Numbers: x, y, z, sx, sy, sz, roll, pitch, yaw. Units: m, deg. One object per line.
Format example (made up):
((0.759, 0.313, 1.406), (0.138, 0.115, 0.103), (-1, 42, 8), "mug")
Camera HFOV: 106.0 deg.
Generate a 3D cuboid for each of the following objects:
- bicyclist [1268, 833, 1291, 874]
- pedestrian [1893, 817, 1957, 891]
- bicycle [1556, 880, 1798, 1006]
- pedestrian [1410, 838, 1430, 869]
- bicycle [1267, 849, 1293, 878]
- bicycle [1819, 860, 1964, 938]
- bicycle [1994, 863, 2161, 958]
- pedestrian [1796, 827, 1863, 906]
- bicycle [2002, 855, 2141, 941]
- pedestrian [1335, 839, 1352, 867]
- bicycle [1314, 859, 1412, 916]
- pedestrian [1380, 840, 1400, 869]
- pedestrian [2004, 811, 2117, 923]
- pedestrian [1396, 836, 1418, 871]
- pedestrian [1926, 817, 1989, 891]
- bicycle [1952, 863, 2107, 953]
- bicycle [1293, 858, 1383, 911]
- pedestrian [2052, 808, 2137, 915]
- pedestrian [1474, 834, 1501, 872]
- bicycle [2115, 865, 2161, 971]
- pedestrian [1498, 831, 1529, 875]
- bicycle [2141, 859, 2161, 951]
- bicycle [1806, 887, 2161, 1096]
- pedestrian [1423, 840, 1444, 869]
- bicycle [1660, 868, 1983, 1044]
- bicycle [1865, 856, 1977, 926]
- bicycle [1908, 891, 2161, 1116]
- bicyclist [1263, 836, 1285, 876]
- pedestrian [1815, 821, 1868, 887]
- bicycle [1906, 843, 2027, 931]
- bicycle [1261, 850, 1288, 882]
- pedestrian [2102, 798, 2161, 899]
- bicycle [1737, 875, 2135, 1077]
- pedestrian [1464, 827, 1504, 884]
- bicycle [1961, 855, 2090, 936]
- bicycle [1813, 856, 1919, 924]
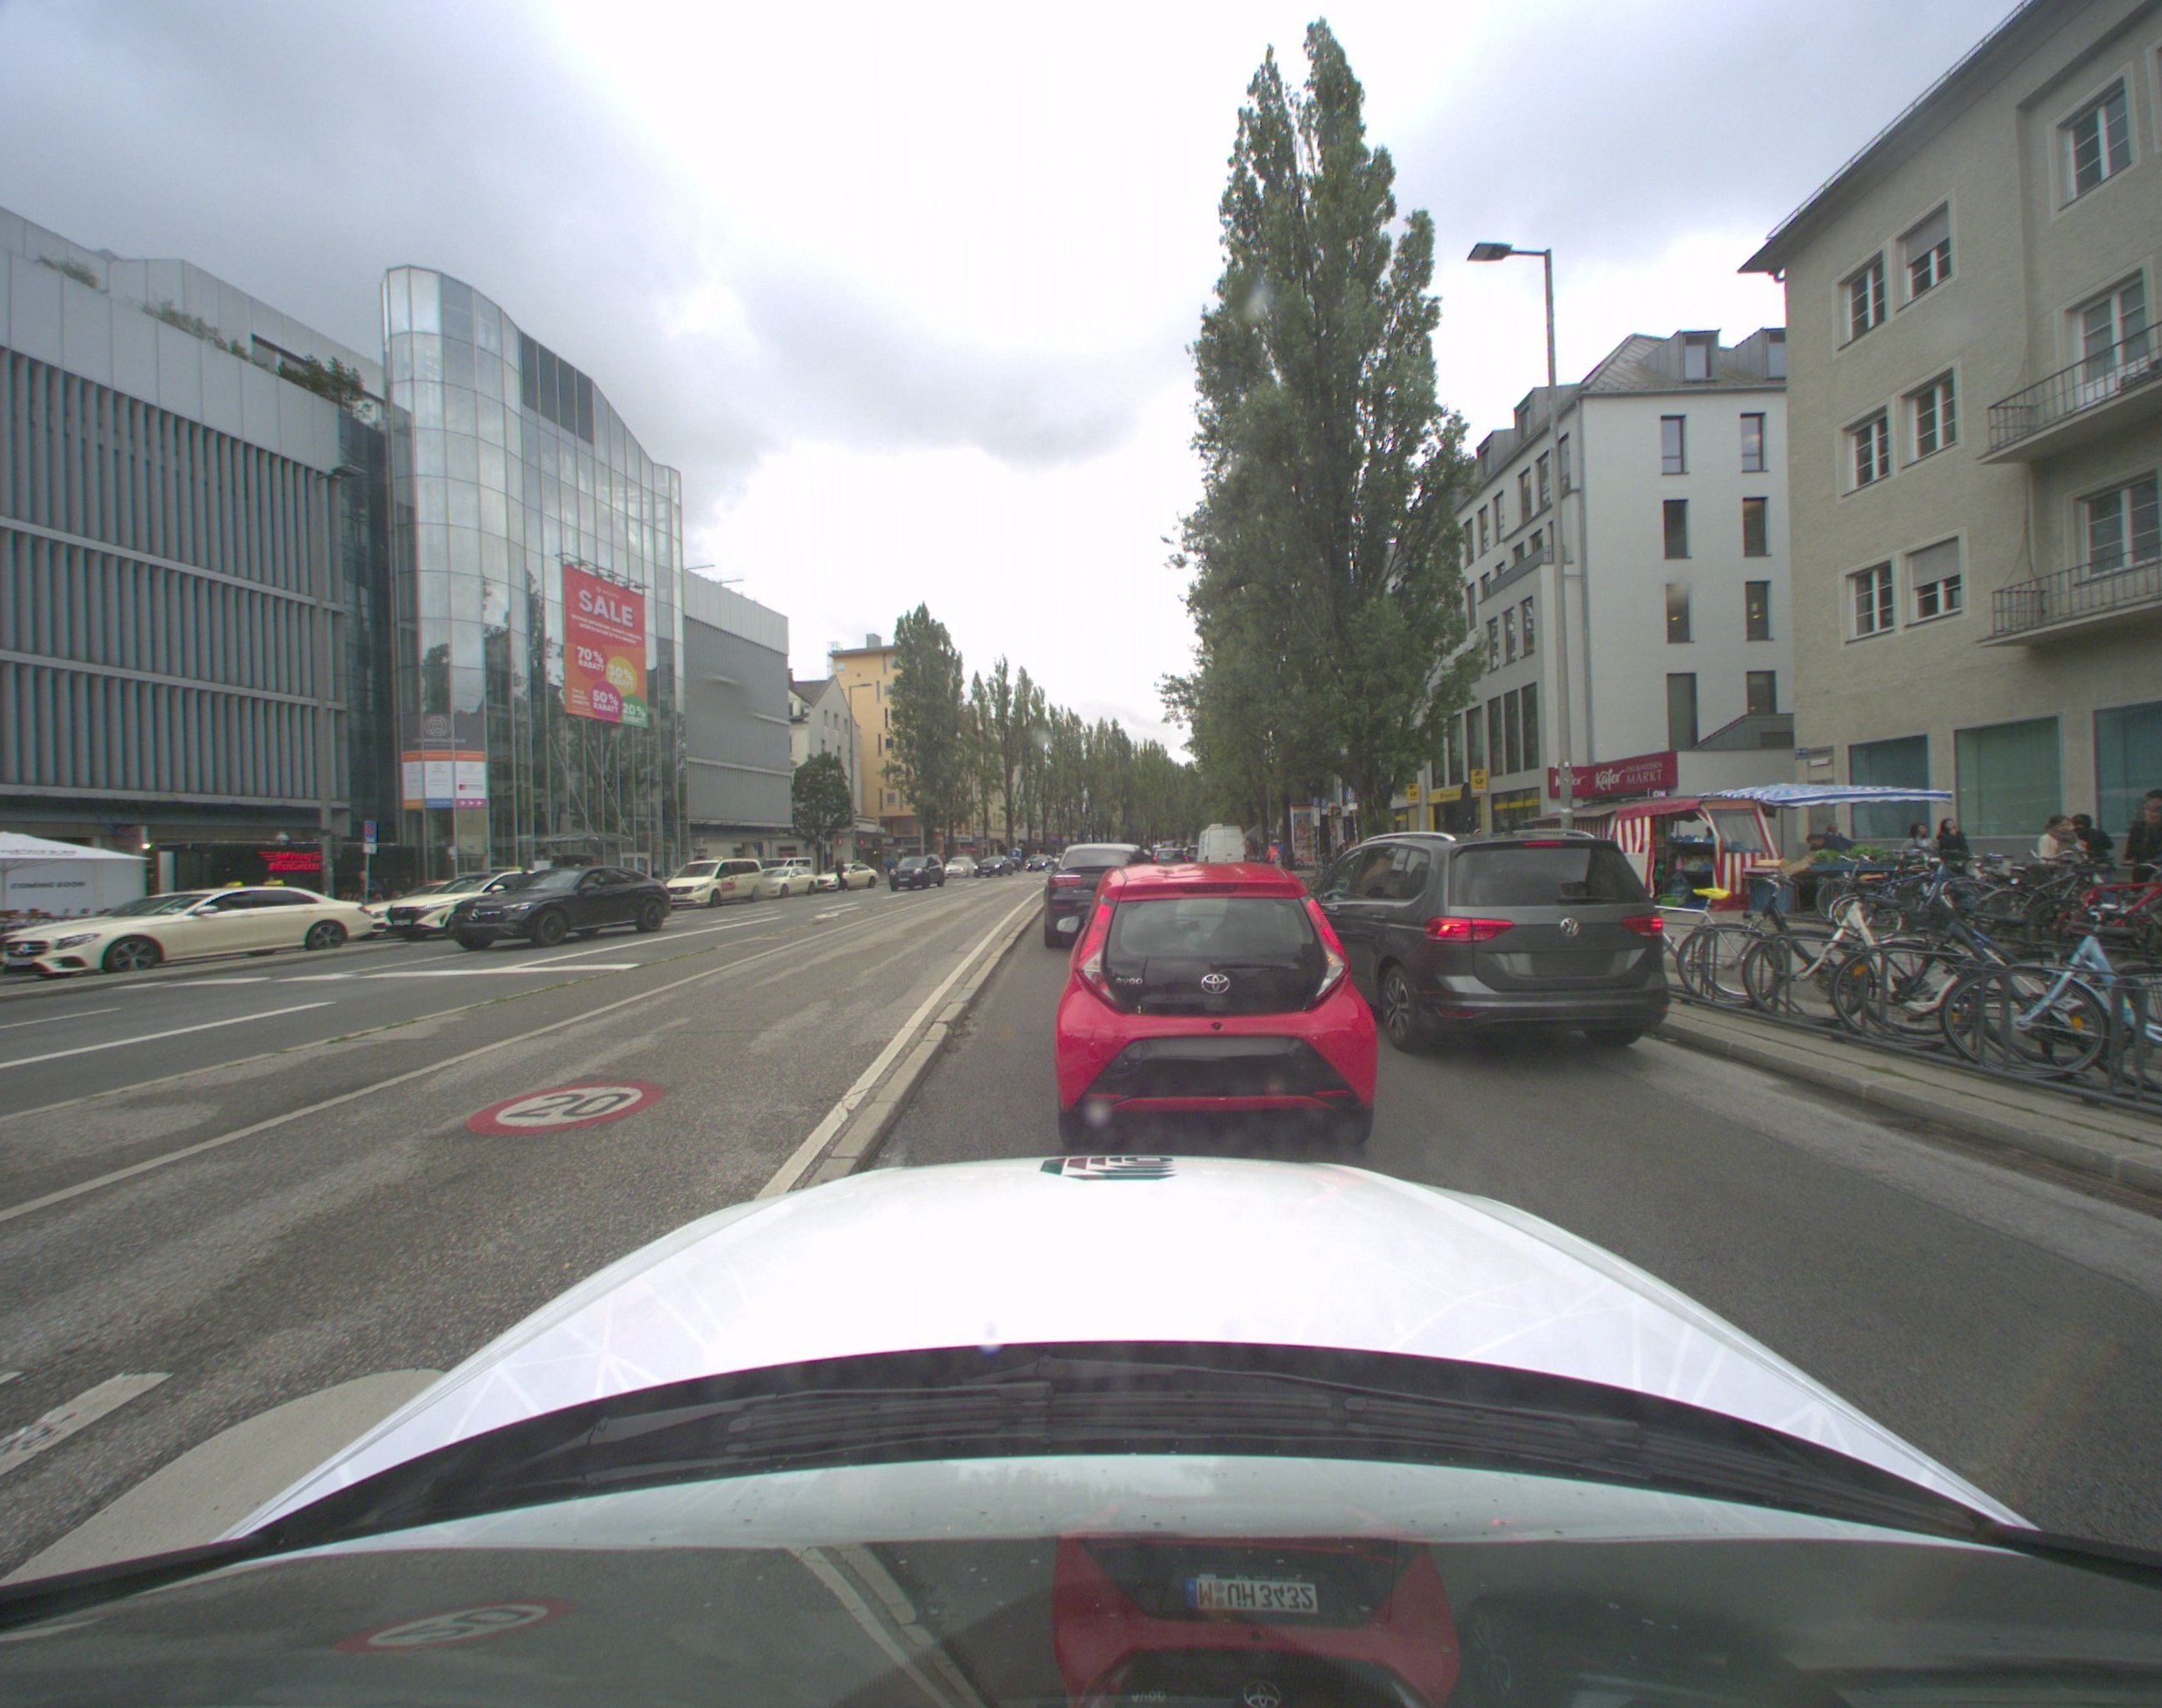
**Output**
((9.263, -0.015, 38.014), (0.759, 1.869, 1.133), (-2, 0, 1), "bicyclist")
((16.539, 0.002, 15.970), (0.596, 1.402, 0.580), (-2, 0, 1), "pedestrian")
((5.718, 0.798, 7.895), (1.815, 1.052, 0.590), (-2, 0, 43), "bicycle")
((17.612, -0.025, 42.357), (0.710, 1.558, 0.676), (-2, 0, 1), "pedestrian")
((9.303, 0.431, 38.144), (0.611, 1.265, 2.520), (-2, 0, 2), "bicycle")
((10.712, 0.593, 10.788), (1.424, 0.963, 0.370), (-2, 0, 6), "bicycle")
((10.803, 0.607, 8.814), (1.253, 0.963, 0.370), (-2, 0, 10), "bicycle")
((14.020, 0.222, 15.272), (0.613, 1.425, 0.660), (-2, 0, 6), "pedestrian")
((12.093, 0.525, 9.954), (1.240, 0.981, 0.369), (-2, 0, -1), "bicycle")
((15.400, -0.046, 47.783), (0.761, 1.594, 0.676), (-2, 0, 1), "pedestrian")
((5.886, 0.689, 17.045), (1.814, 1.136, 0.590), (-2, 0, 37), "bicycle")
((14.382, 0.015, 37.890), (0.636, 1.306, 0.676), (-2, 0, 1), "pedestrian")
((13.956, 0.179, 11.633), (0.801, 1.522, 0.805), (-2, 0, 34), "pedestrian")
((15.185, -0.028, 37.972), (0.710, 1.558, 0.676), (-2, 0, 1), "pedestrian")
((17.139, 0.005, 15.940), (0.573, 1.402, 0.580), (-2, 0, 1), "pedestrian")
((10.807, 0.611, 9.297), (1.255, 0.963, 0.369), (-2, 0, 3), "bicycle")
((5.826, 0.686, 18.513), (1.814, 1.136, 0.590), (-2, 0, 37), "bicycle")
((14.819, 0.106, 11.922), (0.573, 1.505, 0.620), (-2, 0, 32), "pedestrian")
((17.460, -0.036, 35.002), (0.730, 1.602, 0.742), (-2, 0, 1), "pedestrian")
((10.756, 0.609, 8.010), (1.229, 0.963, 0.366), (-2, 0, -21), "bicycle")
((16.122, -0.029, 30.343), (0.730, 1.602, 0.742), (-2, 0, 1), "pedestrian")
((12.194, 0.528, 8.774), (1.243, 0.981, 0.368), (-2, 0, -8), "bicycle")
((5.706, 0.780, 5.041), (1.782, 1.111, 0.494), (-2, 0, 43), "bicycle")
((16.121, 0.027, 37.244), (0.636, 1.306, 0.676), (-2, 0, 1), "pedestrian")
((5.778, 0.729, 6.486), (1.815, 1.197, 0.590), (-2, 0, 43), "bicycle")
((12.203, 0.531, 11.845), (1.240, 0.963, 0.369), (-2, 0, -1), "bicycle")
((5.749, 0.782, 4.375), (1.782, 1.111, 0.590), (-2, 0, 43), "bicycle")
((8.223, 0.083, 34.738), (0.611, 1.657, 1.251), (-2, 0, 2), "bicyclist")
((16.878, -0.001, 18.094), (0.596, 1.402, 0.580), (-2, 0, 1), "pedestrian")
((12.107, 0.444, 11.143), (1.240, 1.140, 0.369), (-2, 0, -1), "bicycle")
((8.261, 0.496, 34.863), (0.611, 1.265, 2.520), (-2, 0, 2), "bicycle")
((15.865, -0.075, 12.247), (0.501, 1.484, 0.468), (-2, 0, 36), "pedestrian")
((5.774, 0.747, 5.669), (1.815, 1.168, 0.590), (-2, 0, 43), "bicycle")
((12.399, 0.045, 25.068), (0.788, 1.727, 0.764), (-2, 0, 1), "pedestrian")
((12.195, 0.525, 10.529), (1.240, 0.981, 0.369), (-2, 0, -1), "bicycle")
((11.907, 0.543, 12.359), (1.240, 0.963, 0.369), (-2, 0, -1), "bicycle")
